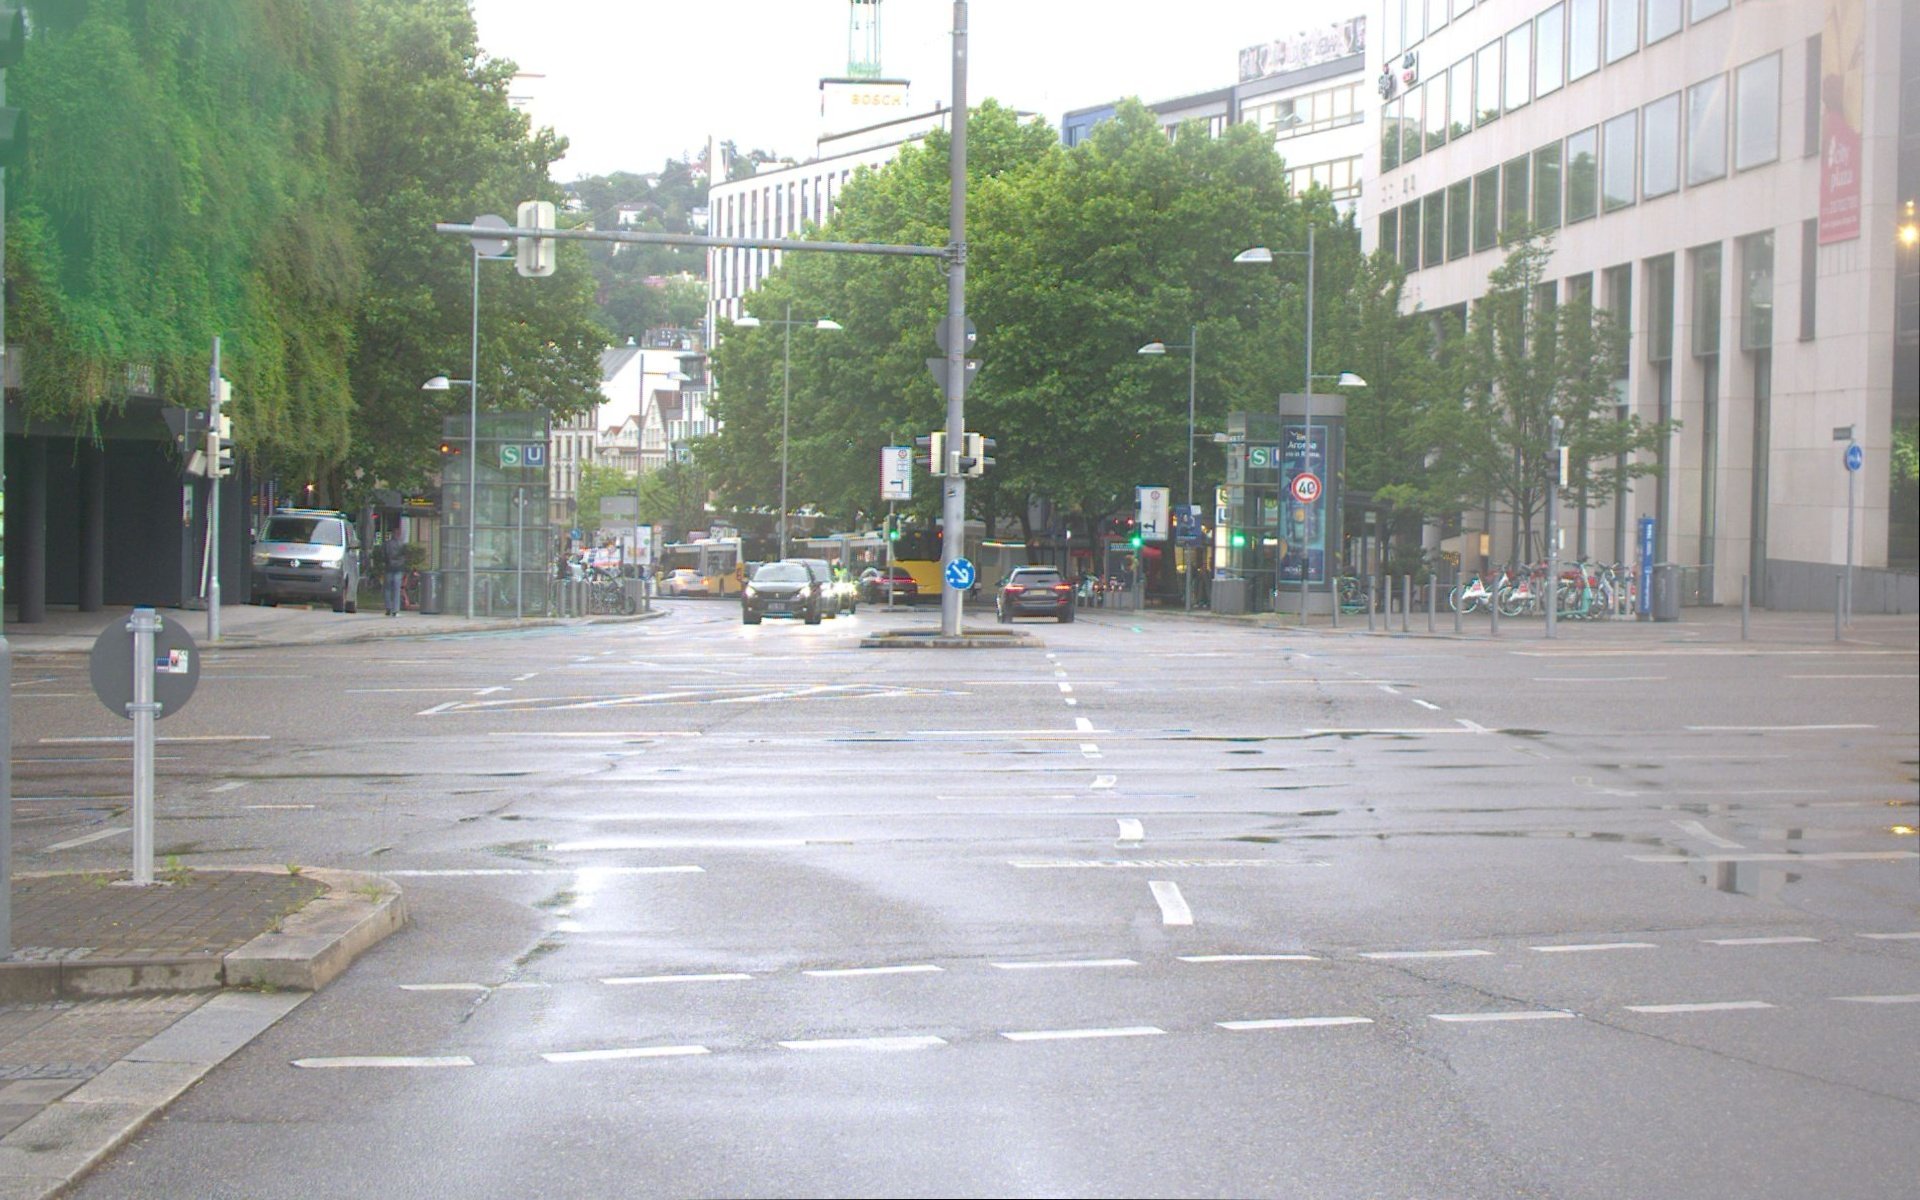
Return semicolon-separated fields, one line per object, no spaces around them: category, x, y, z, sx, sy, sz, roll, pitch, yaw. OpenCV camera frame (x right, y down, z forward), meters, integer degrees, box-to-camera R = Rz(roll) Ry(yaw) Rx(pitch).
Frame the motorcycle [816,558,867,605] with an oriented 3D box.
motorcycle;-3.918;-0.609;112.768;1.551;1.509;4.385;1;0;-3

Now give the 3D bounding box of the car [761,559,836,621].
car;-4.868;-0.305;102.874;2.164;1.759;5.112;1;0;-3

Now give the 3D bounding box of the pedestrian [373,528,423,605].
pedestrian;-12.092;-0.722;74.005;0.933;1.638;0.774;1;0;-1

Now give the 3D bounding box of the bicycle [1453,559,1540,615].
bicycle;11.576;-0.281;74.180;1.777;1.190;0.586;1;0;2

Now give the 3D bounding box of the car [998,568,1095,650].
car;2.251;0.210;87.886;1.545;2.007;4.665;1;0;13

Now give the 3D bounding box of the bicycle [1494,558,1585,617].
bicycle;12.046;-0.259;71.459;1.777;1.190;0.586;1;0;2

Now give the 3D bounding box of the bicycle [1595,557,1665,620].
bicycle;13.018;-0.218;66.807;0.586;1.190;1.779;1;0;38

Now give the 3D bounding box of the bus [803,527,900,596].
bus;-4.874;-1.726;152.950;2.627;2.985;7.451;0;1;-16

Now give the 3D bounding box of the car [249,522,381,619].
car;-12.756;-0.579;68.190;1.870;1.833;4.000;1;0;-1

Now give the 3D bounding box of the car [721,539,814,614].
car;-4.704;-0.570;83.905;2.164;1.759;5.112;1;0;-3

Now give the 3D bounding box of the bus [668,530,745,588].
bus;-13.324;-2.155;180.193;2.627;2.985;7.451;0;1;-16

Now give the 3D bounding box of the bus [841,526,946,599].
bus;-2.861;-1.615;145.803;2.627;2.985;7.451;0;1;-16

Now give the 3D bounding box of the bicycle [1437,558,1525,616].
bicycle;11.000;-0.280;72.628;1.777;1.190;0.586;1;0;2

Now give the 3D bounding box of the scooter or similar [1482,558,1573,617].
scooter or similar;11.692;-0.260;70.837;1.777;1.190;0.586;1;0;2

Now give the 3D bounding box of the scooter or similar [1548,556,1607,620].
scooter or similar;11.503;-0.222;64.012;0.963;1.190;0.454;1;0;40

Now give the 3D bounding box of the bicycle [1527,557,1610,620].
bicycle;11.714;-0.232;66.249;0.584;1.190;1.783;1;0;-28

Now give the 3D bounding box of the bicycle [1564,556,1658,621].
bicycle;12.257;-0.216;64.697;1.624;1.190;0.586;1;0;26

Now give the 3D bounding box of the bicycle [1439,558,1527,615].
bicycle;11.148;-0.282;73.263;1.777;1.190;0.586;1;0;2

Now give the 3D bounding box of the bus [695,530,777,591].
bus;-11.311;-2.013;173.096;2.627;2.985;7.330;0;1;-16

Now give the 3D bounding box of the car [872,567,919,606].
car;-2.515;-0.540;134.576;1.781;1.503;4.000;1;0;-1
